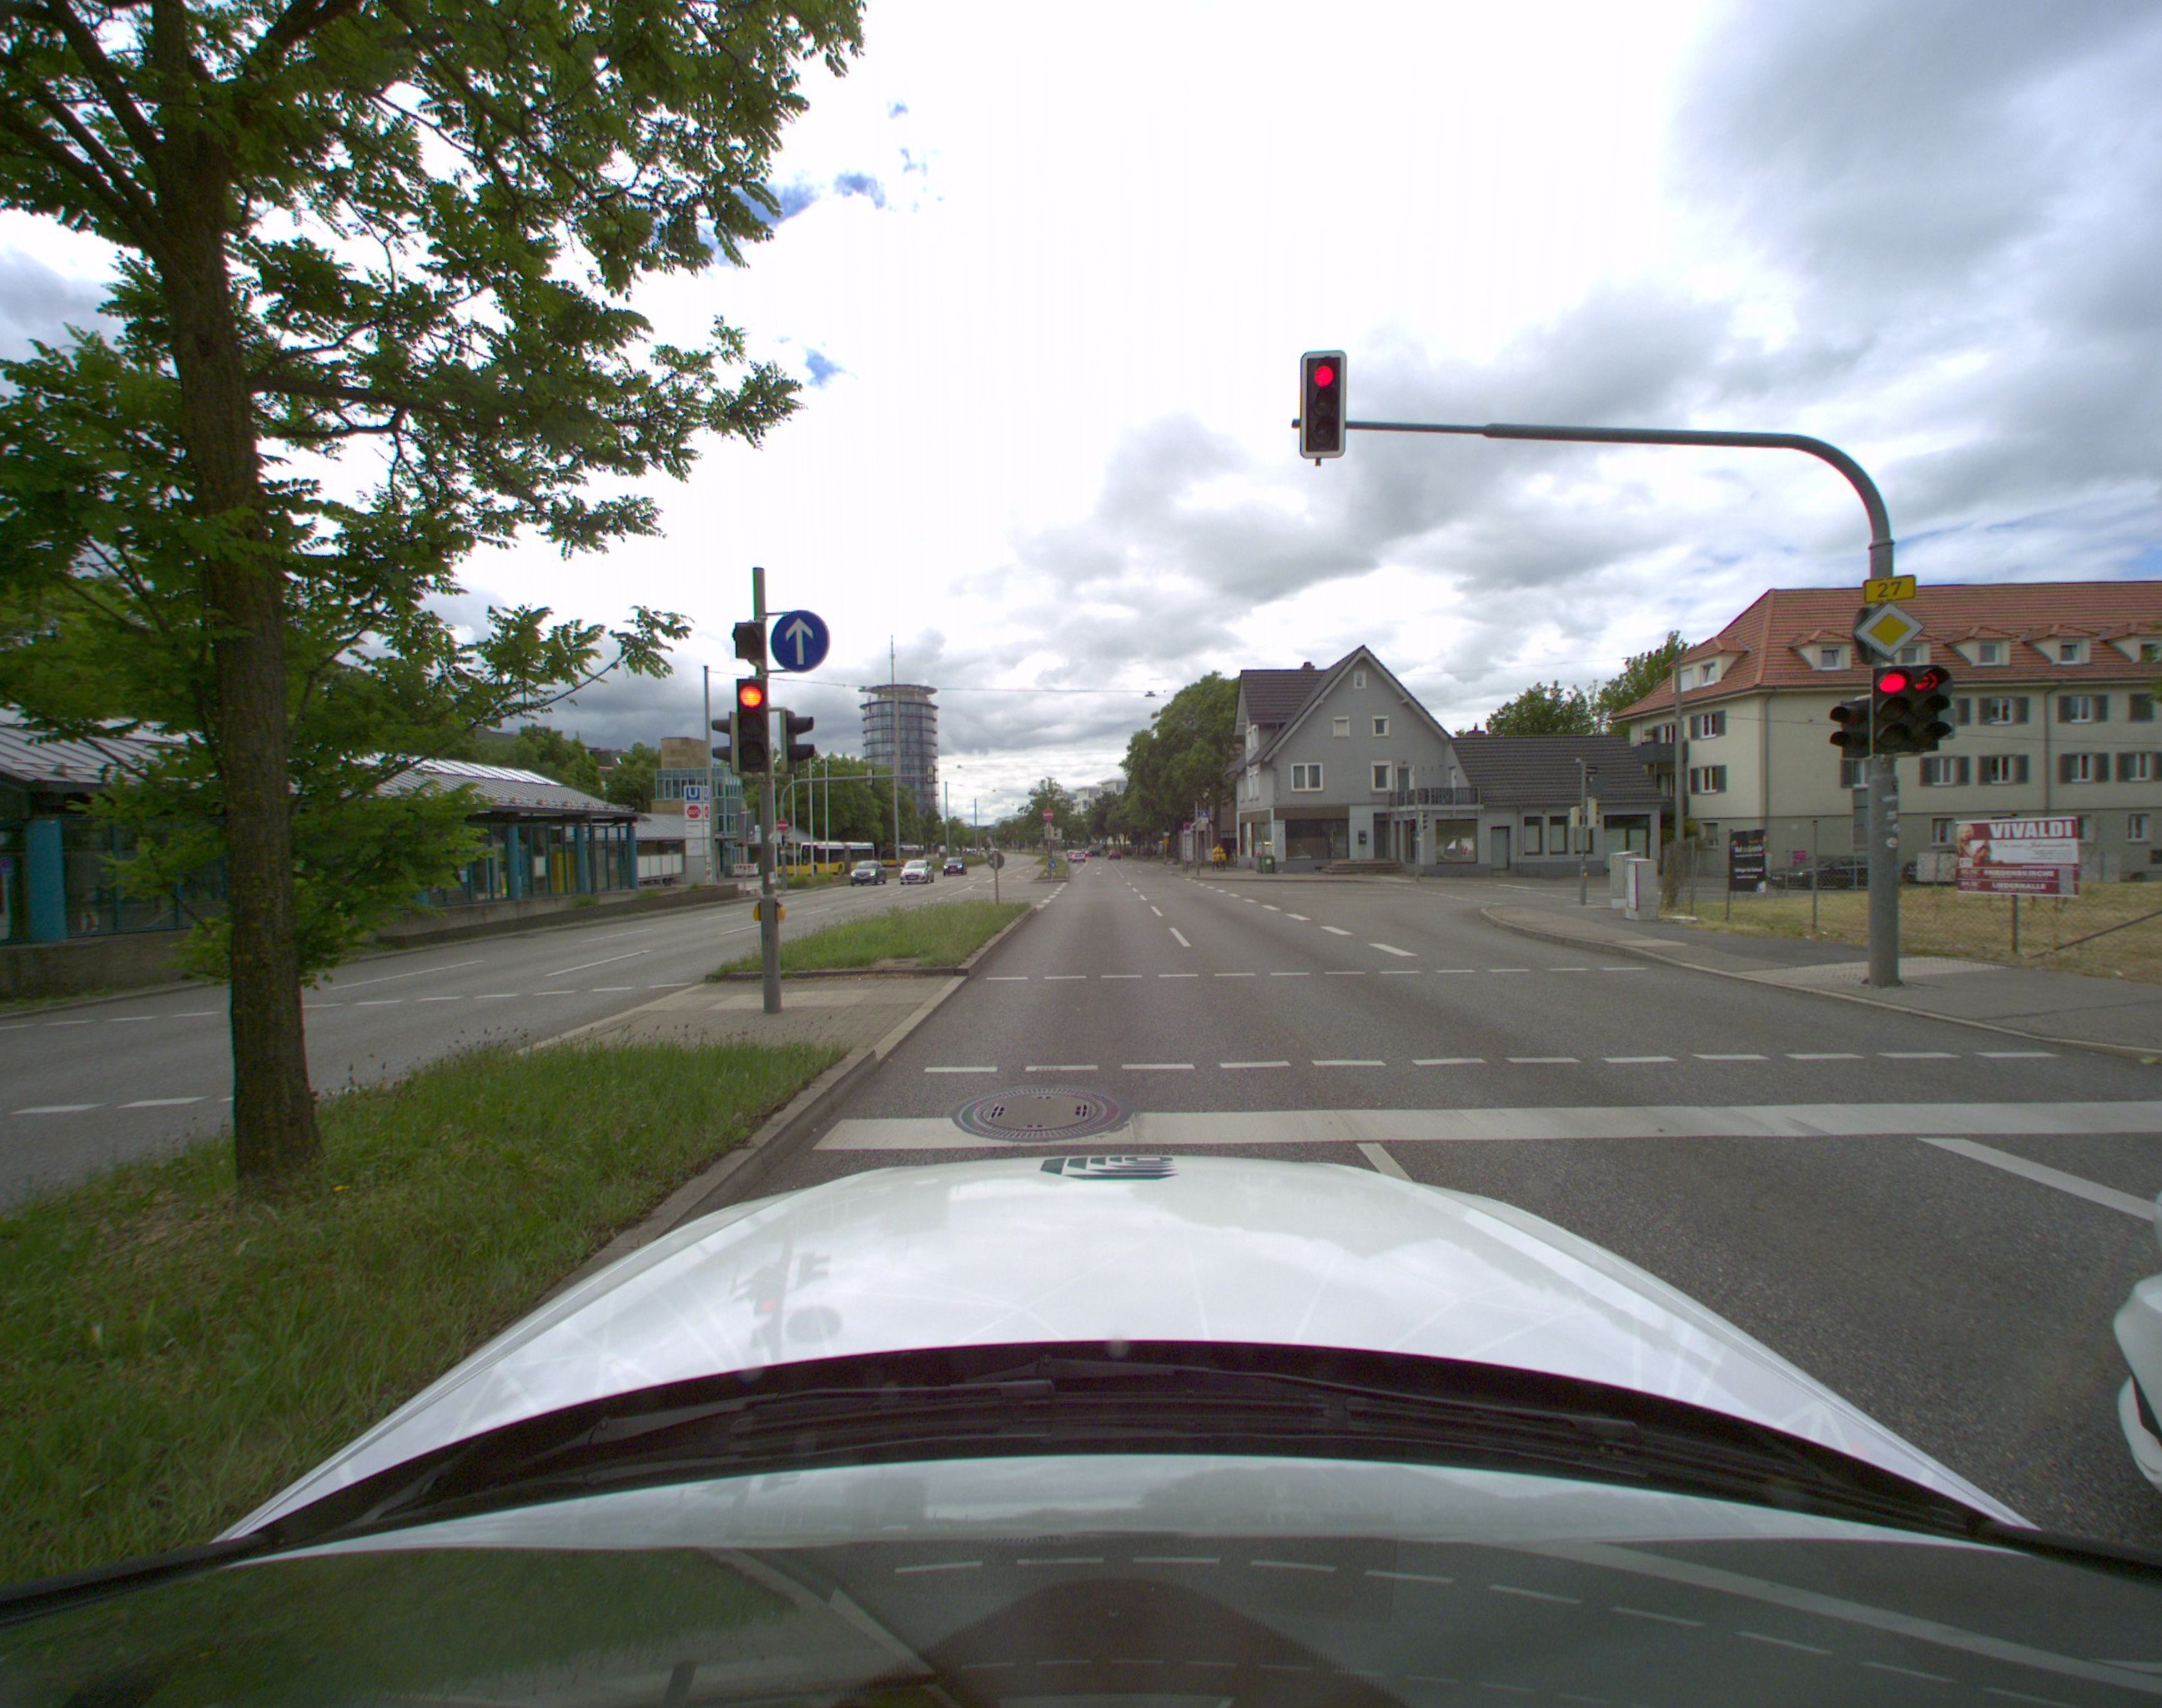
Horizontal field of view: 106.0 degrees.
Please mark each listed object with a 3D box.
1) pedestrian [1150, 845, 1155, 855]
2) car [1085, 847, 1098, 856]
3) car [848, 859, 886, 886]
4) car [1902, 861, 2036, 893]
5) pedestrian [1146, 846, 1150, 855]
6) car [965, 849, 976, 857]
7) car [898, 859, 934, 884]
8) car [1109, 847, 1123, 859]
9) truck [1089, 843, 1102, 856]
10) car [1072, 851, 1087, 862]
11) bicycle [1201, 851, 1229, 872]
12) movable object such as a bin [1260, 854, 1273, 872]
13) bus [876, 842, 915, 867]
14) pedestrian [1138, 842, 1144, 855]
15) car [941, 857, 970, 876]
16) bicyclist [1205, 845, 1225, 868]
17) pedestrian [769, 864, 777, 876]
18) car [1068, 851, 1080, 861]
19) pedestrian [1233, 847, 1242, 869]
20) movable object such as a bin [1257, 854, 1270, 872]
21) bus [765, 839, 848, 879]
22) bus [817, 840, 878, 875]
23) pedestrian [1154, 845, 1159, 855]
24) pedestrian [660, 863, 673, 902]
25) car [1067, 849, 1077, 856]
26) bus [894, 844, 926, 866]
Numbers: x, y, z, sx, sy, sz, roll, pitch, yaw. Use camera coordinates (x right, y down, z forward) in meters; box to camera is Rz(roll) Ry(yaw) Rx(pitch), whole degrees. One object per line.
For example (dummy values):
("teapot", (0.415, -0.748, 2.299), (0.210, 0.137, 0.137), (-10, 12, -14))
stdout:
("pedestrian", (12.103, -0.660, 137.423), (0.649, 1.570, 0.669), (-2, 0, -6))
("car", (2.095, -0.483, 165.285), (2.246, 1.757, 4.928), (-2, 0, -3))
("car", (-13.492, 1.147, 51.534), (1.681, 1.578, 3.344), (-2, 0, -4))
("car", (39.812, 1.024, 36.579), (3.972, 1.377, 1.871), (0, 0, 2))
("pedestrian", (11.304, -0.624, 137.521), (0.649, 1.570, 0.669), (-2, 0, -6))
("car", (-27.262, -0.185, 201.218), (1.958, 2.014, 4.001), (0, -1, 2))
("car", (-10.339, 1.055, 51.323), (1.680, 1.462, 3.552), (-2, 0, -3))
("car", (5.303, -0.154, 122.962), (1.882, 1.494, 4.099), (-3, -1, 1))
("truck", (2.753, -0.826, 156.672), (2.246, 2.416, 4.928), (-1, 0, -3))
("car", (-0.209, 0.309, 111.381), (1.987, 1.477, 4.256), (-2, 0, 0))
("bicycle", (8.215, 0.433, 50.013), (1.073, 1.217, 2.434), (-2, 0, -6))
("movable object such as a bin", (10.032, 0.477, 43.958), (0.527, 0.979, 0.737), (-2, 0, 2))
("bus", (-26.096, 0.091, 115.317), (3.135, 3.225, 10.282), (-2, 0, 0))
("pedestrian", (10.063, -0.912, 135.854), (0.967, 2.014, 0.981), (0, -1, 1))
("car", (-10.513, 1.005, 68.411), (1.696, 1.492, 3.562), (-2, 0, 1))
("bicyclist", (8.208, 0.127, 49.926), (1.073, 1.357, 0.626), (-2, 0, -6))
("pedestrian", (-27.360, 1.415, 72.341), (0.521, 1.057, 0.588), (0, -1, 1))
("car", (-1.032, 0.279, 122.347), (1.817, 1.540, 4.113), (-1, 0, 0))
("pedestrian", (12.627, 0.329, 65.774), (0.701, 1.780, 0.872), (2, -3, 9))
("movable object such as a bin", (10.039, 0.482, 44.749), (0.527, 0.979, 0.737), (-2, 0, 2))
("bus", (-24.324, 0.401, 72.868), (2.975, 3.250, 10.186), (-2, 0, 6))
("bus", (-23.352, 0.367, 81.868), (2.975, 3.270, 7.889), (-2, 0, 6))
("pedestrian", (12.790, -0.663, 137.427), (0.649, 1.570, 0.669), (-2, 0, -6))
("pedestrian", (-17.310, 1.173, 34.009), (0.420, 1.591, 0.353), (-2, 0, -28))
("car", (-1.913, -0.365, 173.473), (1.963, 1.420, 4.017), (-2, 0, -3))
("bus", (-26.038, 0.117, 124.327), (3.134, 3.225, 7.765), (-2, 0, 0))
